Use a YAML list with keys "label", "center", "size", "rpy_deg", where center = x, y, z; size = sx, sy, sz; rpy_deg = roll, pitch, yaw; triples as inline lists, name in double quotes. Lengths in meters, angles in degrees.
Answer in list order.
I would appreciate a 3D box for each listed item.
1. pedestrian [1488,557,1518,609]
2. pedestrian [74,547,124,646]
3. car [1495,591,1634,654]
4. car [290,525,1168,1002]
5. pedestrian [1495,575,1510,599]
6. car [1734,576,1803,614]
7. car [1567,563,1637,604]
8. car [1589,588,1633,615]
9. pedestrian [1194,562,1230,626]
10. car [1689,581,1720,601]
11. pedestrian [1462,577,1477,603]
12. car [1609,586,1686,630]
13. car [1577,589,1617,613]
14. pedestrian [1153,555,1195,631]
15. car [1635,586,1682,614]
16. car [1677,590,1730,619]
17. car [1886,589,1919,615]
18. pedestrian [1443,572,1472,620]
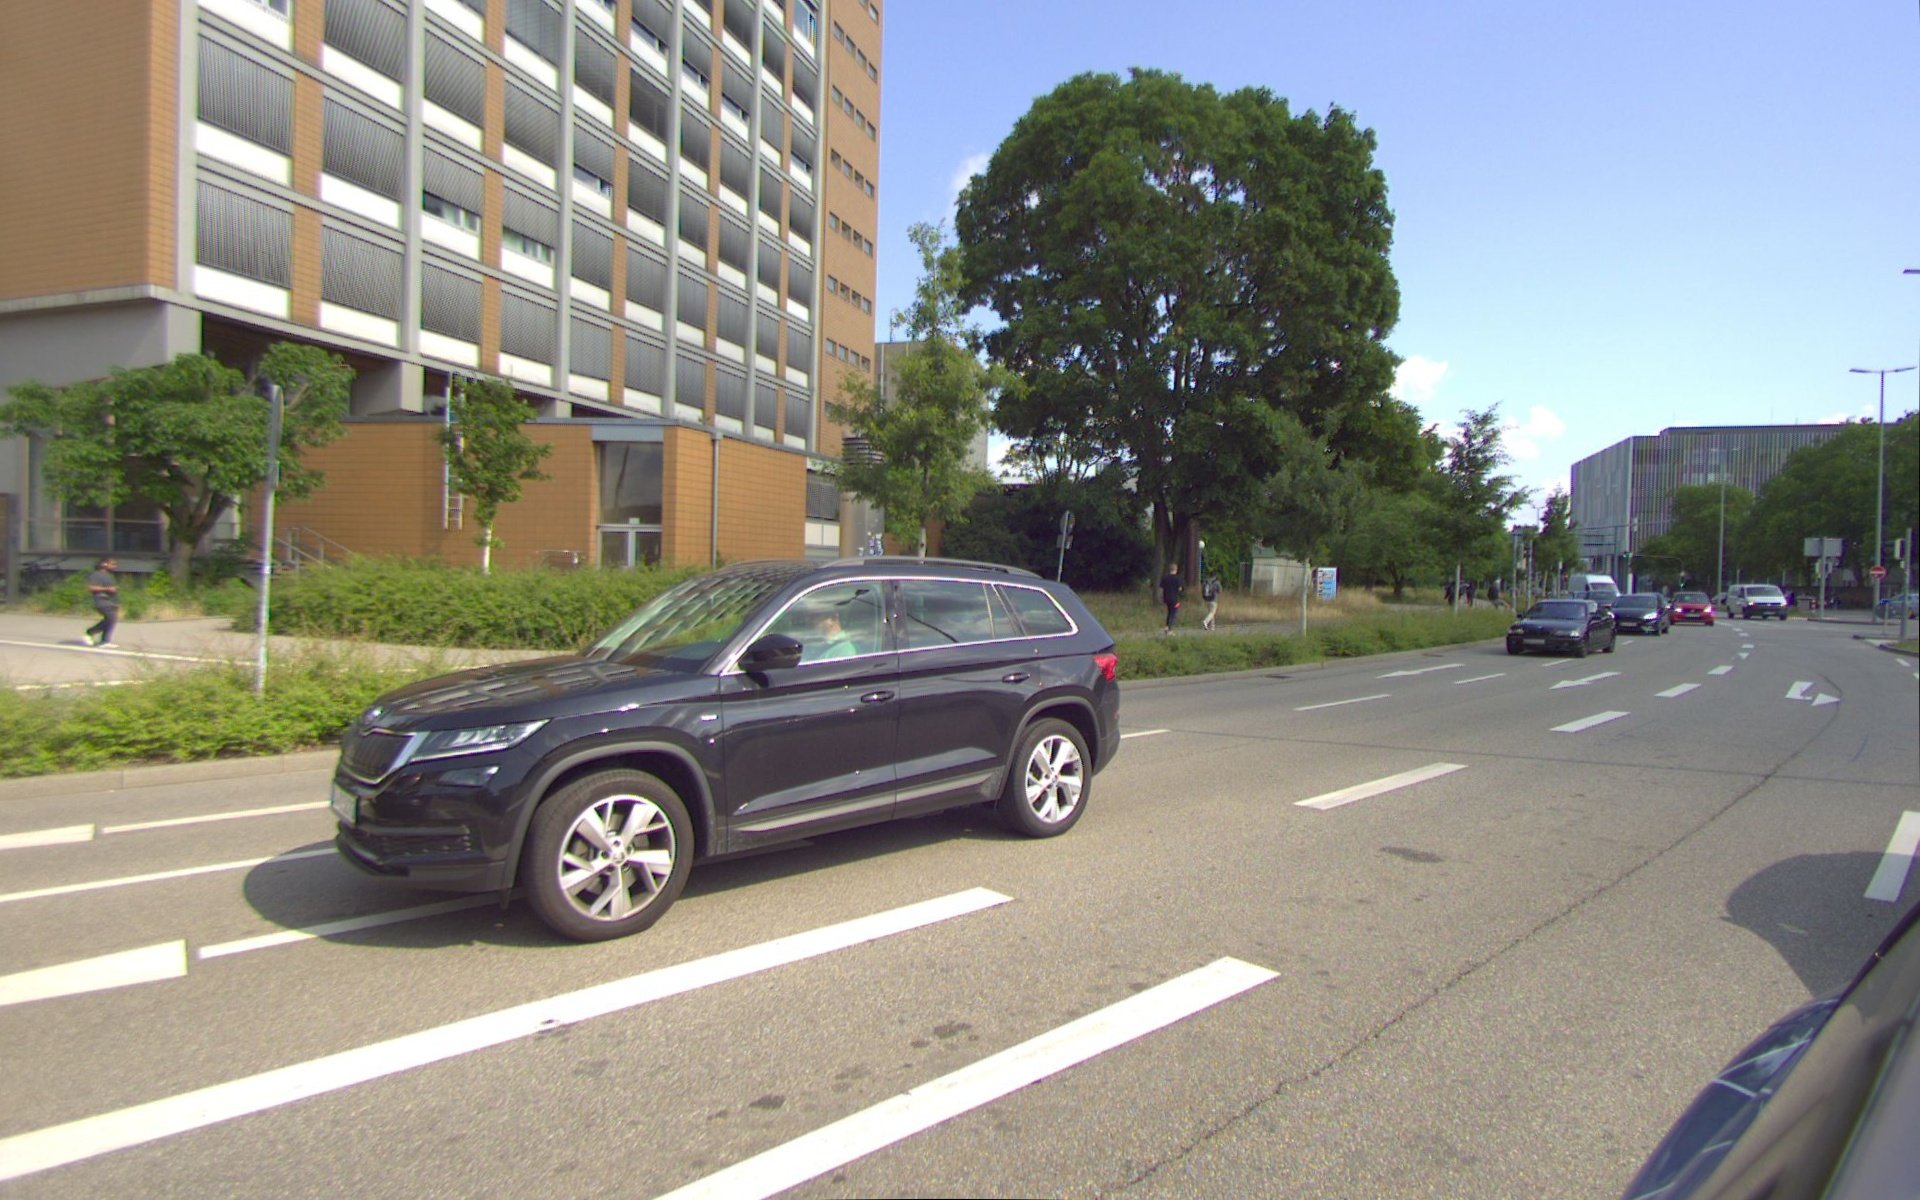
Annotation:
- label: "pedestrian"
  center: [21.898, -0.679, 40.837]
  size: [0.980, 2.039, 1.117]
  rpy_deg: [0, 0, 33]
- label: "pedestrian"
  center: [-13.786, -0.069, 16.215]
  size: [0.570, 1.539, 0.480]
  rpy_deg: [0, 3, -36]
- label: "car"
  center: [15.456, 0.499, 25.781]
  size: [4.436, 1.415, 1.995]
  rpy_deg: [-1, 2, -45]
- label: "car"
  center: [-1.000, 0.533, 5.880]
  size: [4.604, 1.689, 1.996]
  rpy_deg: [-1, 2, -42]
- label: "pedestrian"
  center: [45.581, -1.085, 85.044]
  size: [0.980, 2.038, 1.117]
  rpy_deg: [2, 1, 33]
- label: "car"
  center: [45.544, -0.297, 57.141]
  size: [1.980, 2.039, 5.028]
  rpy_deg: [0, 0, 26]
- label: "car"
  center: [48.209, -1.235, 76.150]
  size: [2.449, 2.915, 6.125]
  rpy_deg: [1, 1, 13]
- label: "car"
  center: [39.160, 0.081, 60.922]
  size: [1.984, 1.504, 3.957]
  rpy_deg: [2, 1, 30]
- label: "pedestrian"
  center: [7.206, -0.176, 28.974]
  size: [0.634, 1.767, 0.672]
  rpy_deg: [0, 4, -41]
- label: "car"
  center: [77.199, -0.924, 104.973]
  size: [1.753, 2.038, 3.585]
  rpy_deg: [2, 1, 23]
- label: "pedestrian"
  center: [39.537, -0.756, 78.503]
  size: [0.980, 2.039, 1.117]
  rpy_deg: [0, 0, 33]
- label: "car"
  center: [25.268, 0.279, 37.155]
  size: [1.709, 1.472, 3.937]
  rpy_deg: [2, 2, 44]
- label: "car"
  center: [42.865, 0.029, 68.136]
  size: [1.982, 1.504, 3.960]
  rpy_deg: [2, 1, 29]
- label: "pedestrian"
  center: [5.554, -0.189, 26.323]
  size: [0.634, 1.893, 0.760]
  rpy_deg: [0, 4, -40]
- label: "car"
  center: [41.816, -0.020, 60.690]
  size: [1.874, 1.638, 3.960]
  rpy_deg: [0, 0, 28]
- label: "car"
  center: [34.632, 0.190, 47.119]
  size: [1.604, 1.229, 2.963]
  rpy_deg: [0, 1, 44]
- label: "car"
  center: [56.137, 0.151, 58.500]
  size: [1.934, 1.507, 5.069]
  rpy_deg: [2, 1, 19]
- label: "pedestrian"
  center: [21.177, -0.172, 43.079]
  size: [0.980, 2.039, 1.117]
  rpy_deg: [0, 0, 33]
